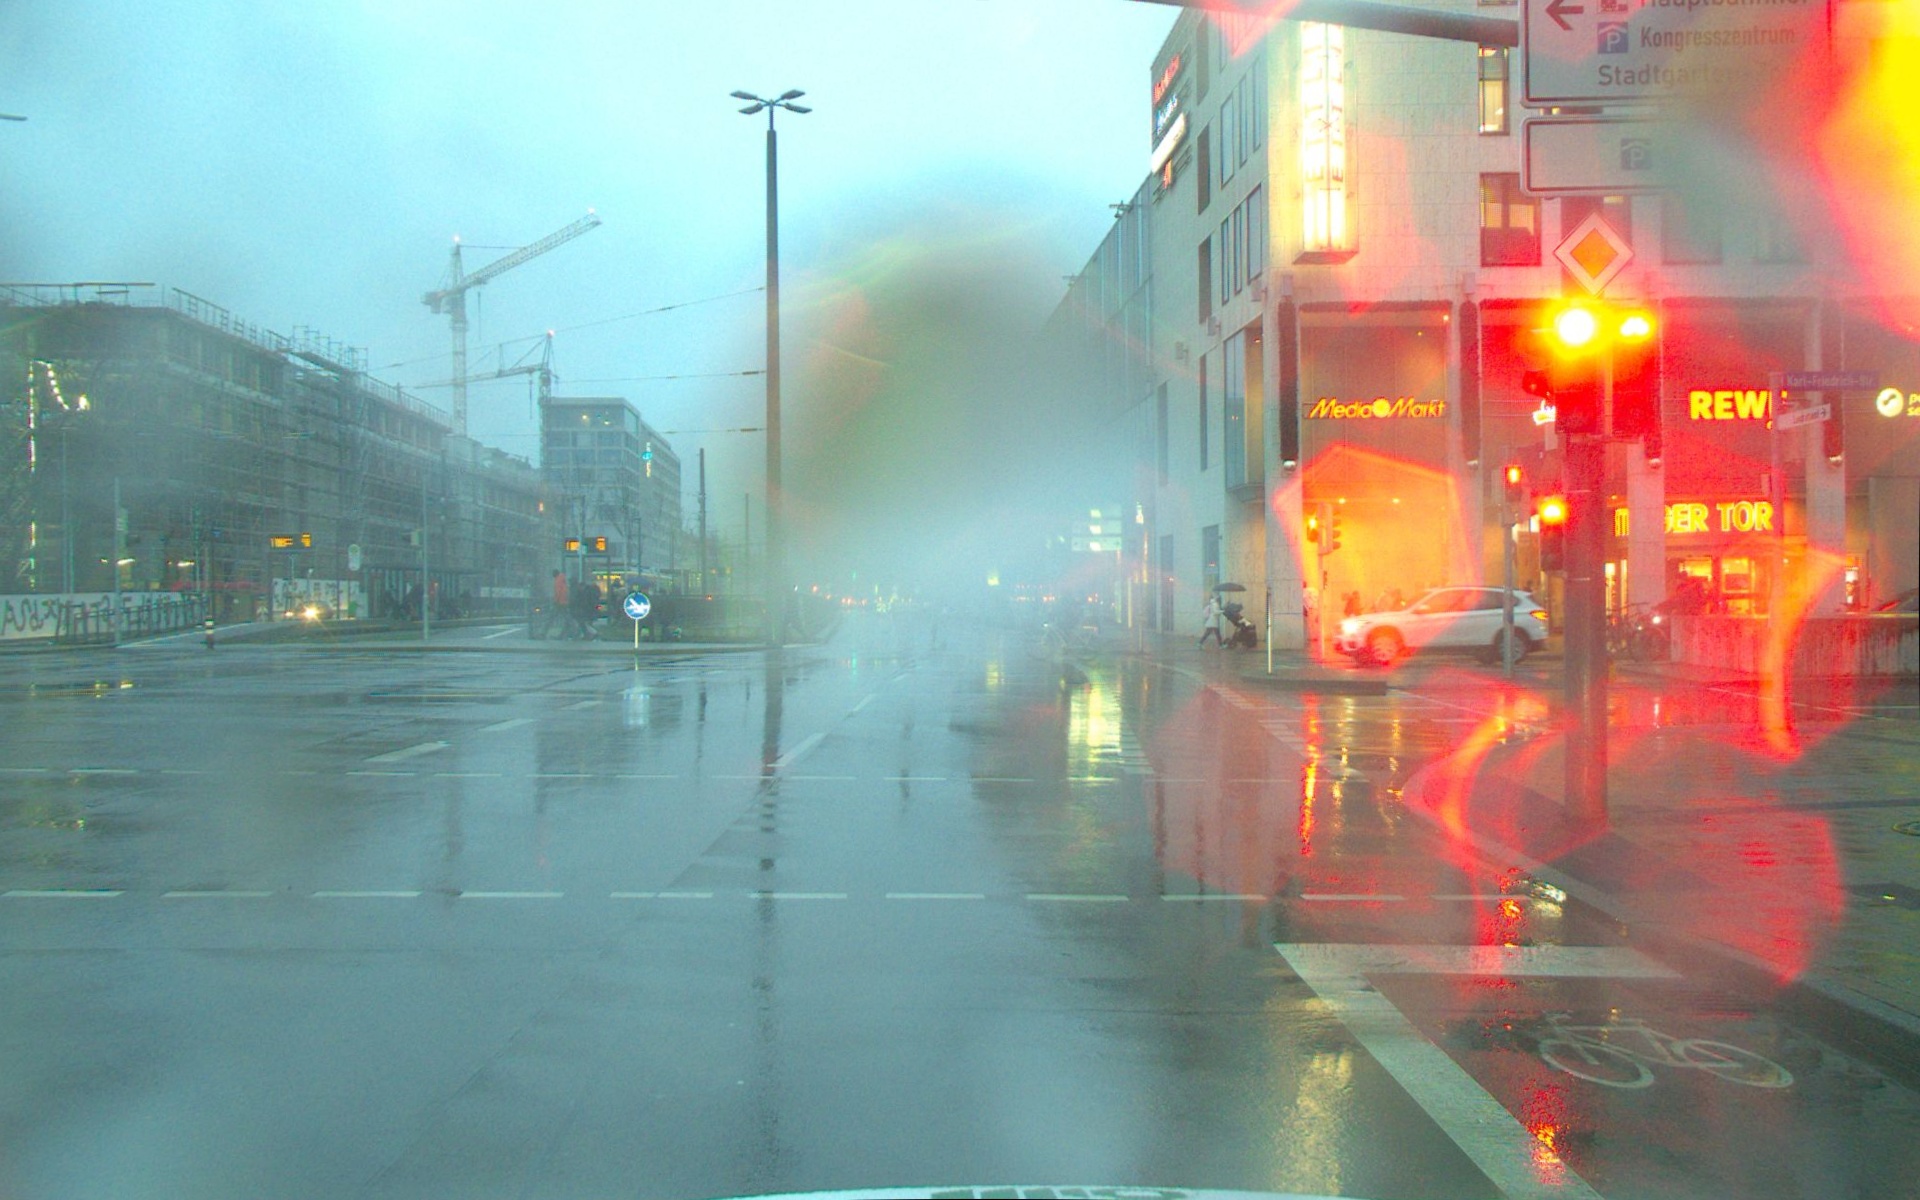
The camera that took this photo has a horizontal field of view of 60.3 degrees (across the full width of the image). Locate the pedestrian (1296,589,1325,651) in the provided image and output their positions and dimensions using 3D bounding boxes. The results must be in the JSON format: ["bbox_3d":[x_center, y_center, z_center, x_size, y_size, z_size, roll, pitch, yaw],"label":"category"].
[{"bbox_3d":[10.189,0.574,48.070,0.688,1.791,0.667,-1,0,-1],"label":"pedestrian"}]

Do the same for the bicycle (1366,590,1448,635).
[{"bbox_3d":[13.725,0.371,50.827,2.378,1.352,0.634,0,0,-6],"label":"bicycle"}]

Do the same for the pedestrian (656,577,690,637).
[{"bbox_3d":[-8.041,0.195,46.373,0.793,1.635,0.745,-1,0,-1],"label":"pedestrian"}]

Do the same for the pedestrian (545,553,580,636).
[{"bbox_3d":[-10.368,-0.146,43.130,0.682,2.124,0.604,0,0,-41],"label":"pedestrian"}]

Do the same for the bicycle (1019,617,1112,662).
[{"bbox_3d":[2.423,0.911,38.022,2.086,1.009,0.541,1,-1,-5],"label":"bicycle"}]

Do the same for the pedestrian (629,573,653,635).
[{"bbox_3d":[-9.200,0.124,47.691,0.607,1.776,0.612,-1,0,-6],"label":"pedestrian"}]

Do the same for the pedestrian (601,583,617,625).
[{"bbox_3d":[-15.124,0.164,71.344,0.648,1.776,0.734,-1,0,-11],"label":"pedestrian"}]

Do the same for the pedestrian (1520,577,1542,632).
[{"bbox_3d":[18.330,0.136,53.129,0.526,1.748,0.500,-1,0,37],"label":"pedestrian"}]

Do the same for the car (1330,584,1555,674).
[{"bbox_3d":[10.062,0.592,34.679,4.214,1.792,1.707,-1,0,1],"label":"car"}]

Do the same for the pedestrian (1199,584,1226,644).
[{"bbox_3d":[7.228,0.396,47.337,0.725,1.696,0.401,-1,0,11],"label":"pedestrian"}]

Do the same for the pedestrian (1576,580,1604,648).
[{"bbox_3d":[16.092,0.350,42.249,0.526,1.715,0.547,-1,0,37],"label":"pedestrian"}]

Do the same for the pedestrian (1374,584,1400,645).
[{"bbox_3d":[12.628,0.433,48.949,0.605,1.791,0.482,-1,0,-1],"label":"pedestrian"}]

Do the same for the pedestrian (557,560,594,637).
[{"bbox_3d":[-10.232,-0.042,44.009,0.770,2.049,0.604,-1,0,-39],"label":"pedestrian"}]

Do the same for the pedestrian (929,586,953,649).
[{"bbox_3d":[-0.556,0.503,48.097,0.688,1.791,0.652,-1,0,-1],"label":"pedestrian"}]

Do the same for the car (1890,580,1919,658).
[{"bbox_3d":[21.649,0.361,34.169,3.969,1.610,1.675,-1,-1,-3],"label":"car"}]

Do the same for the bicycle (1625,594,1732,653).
[{"bbox_3d":[13.847,0.459,31.930,1.806,1.112,0.618,-1,0,14],"label":"bicycle"}]

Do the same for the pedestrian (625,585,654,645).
[{"bbox_3d":[-8.932,0.415,46.159,0.692,1.647,0.612,-1,0,-3],"label":"pedestrian"}]

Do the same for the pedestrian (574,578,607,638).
[{"bbox_3d":[-10.316,0.225,46.165,0.700,1.647,0.673,-1,0,-33],"label":"pedestrian"}]

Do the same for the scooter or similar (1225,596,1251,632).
[{"bbox_3d":[7.932,0.405,47.189,0.725,1.011,0.401,-1,0,11],"label":"scooter or similar"}]

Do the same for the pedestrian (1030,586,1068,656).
[{"bbox_3d":[2.036,0.482,38.063,0.798,1.597,0.536,-1,0,-4],"label":"pedestrian"}]

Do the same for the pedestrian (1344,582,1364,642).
[{"bbox_3d":[11.823,0.349,49.644,0.501,1.791,0.374,-1,0,-1],"label":"pedestrian"}]

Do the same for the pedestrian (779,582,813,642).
[{"bbox_3d":[-4.691,0.342,47.393,0.825,1.718,0.677,-1,0,7],"label":"pedestrian"}]

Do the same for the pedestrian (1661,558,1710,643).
[{"bbox_3d":[13.984,0.010,31.899,0.764,1.623,0.613,-1,0,14],"label":"pedestrian"}]

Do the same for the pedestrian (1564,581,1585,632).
[{"bbox_3d":[20.984,0.224,56.486,0.526,1.748,0.500,-1,0,37],"label":"pedestrian"}]
